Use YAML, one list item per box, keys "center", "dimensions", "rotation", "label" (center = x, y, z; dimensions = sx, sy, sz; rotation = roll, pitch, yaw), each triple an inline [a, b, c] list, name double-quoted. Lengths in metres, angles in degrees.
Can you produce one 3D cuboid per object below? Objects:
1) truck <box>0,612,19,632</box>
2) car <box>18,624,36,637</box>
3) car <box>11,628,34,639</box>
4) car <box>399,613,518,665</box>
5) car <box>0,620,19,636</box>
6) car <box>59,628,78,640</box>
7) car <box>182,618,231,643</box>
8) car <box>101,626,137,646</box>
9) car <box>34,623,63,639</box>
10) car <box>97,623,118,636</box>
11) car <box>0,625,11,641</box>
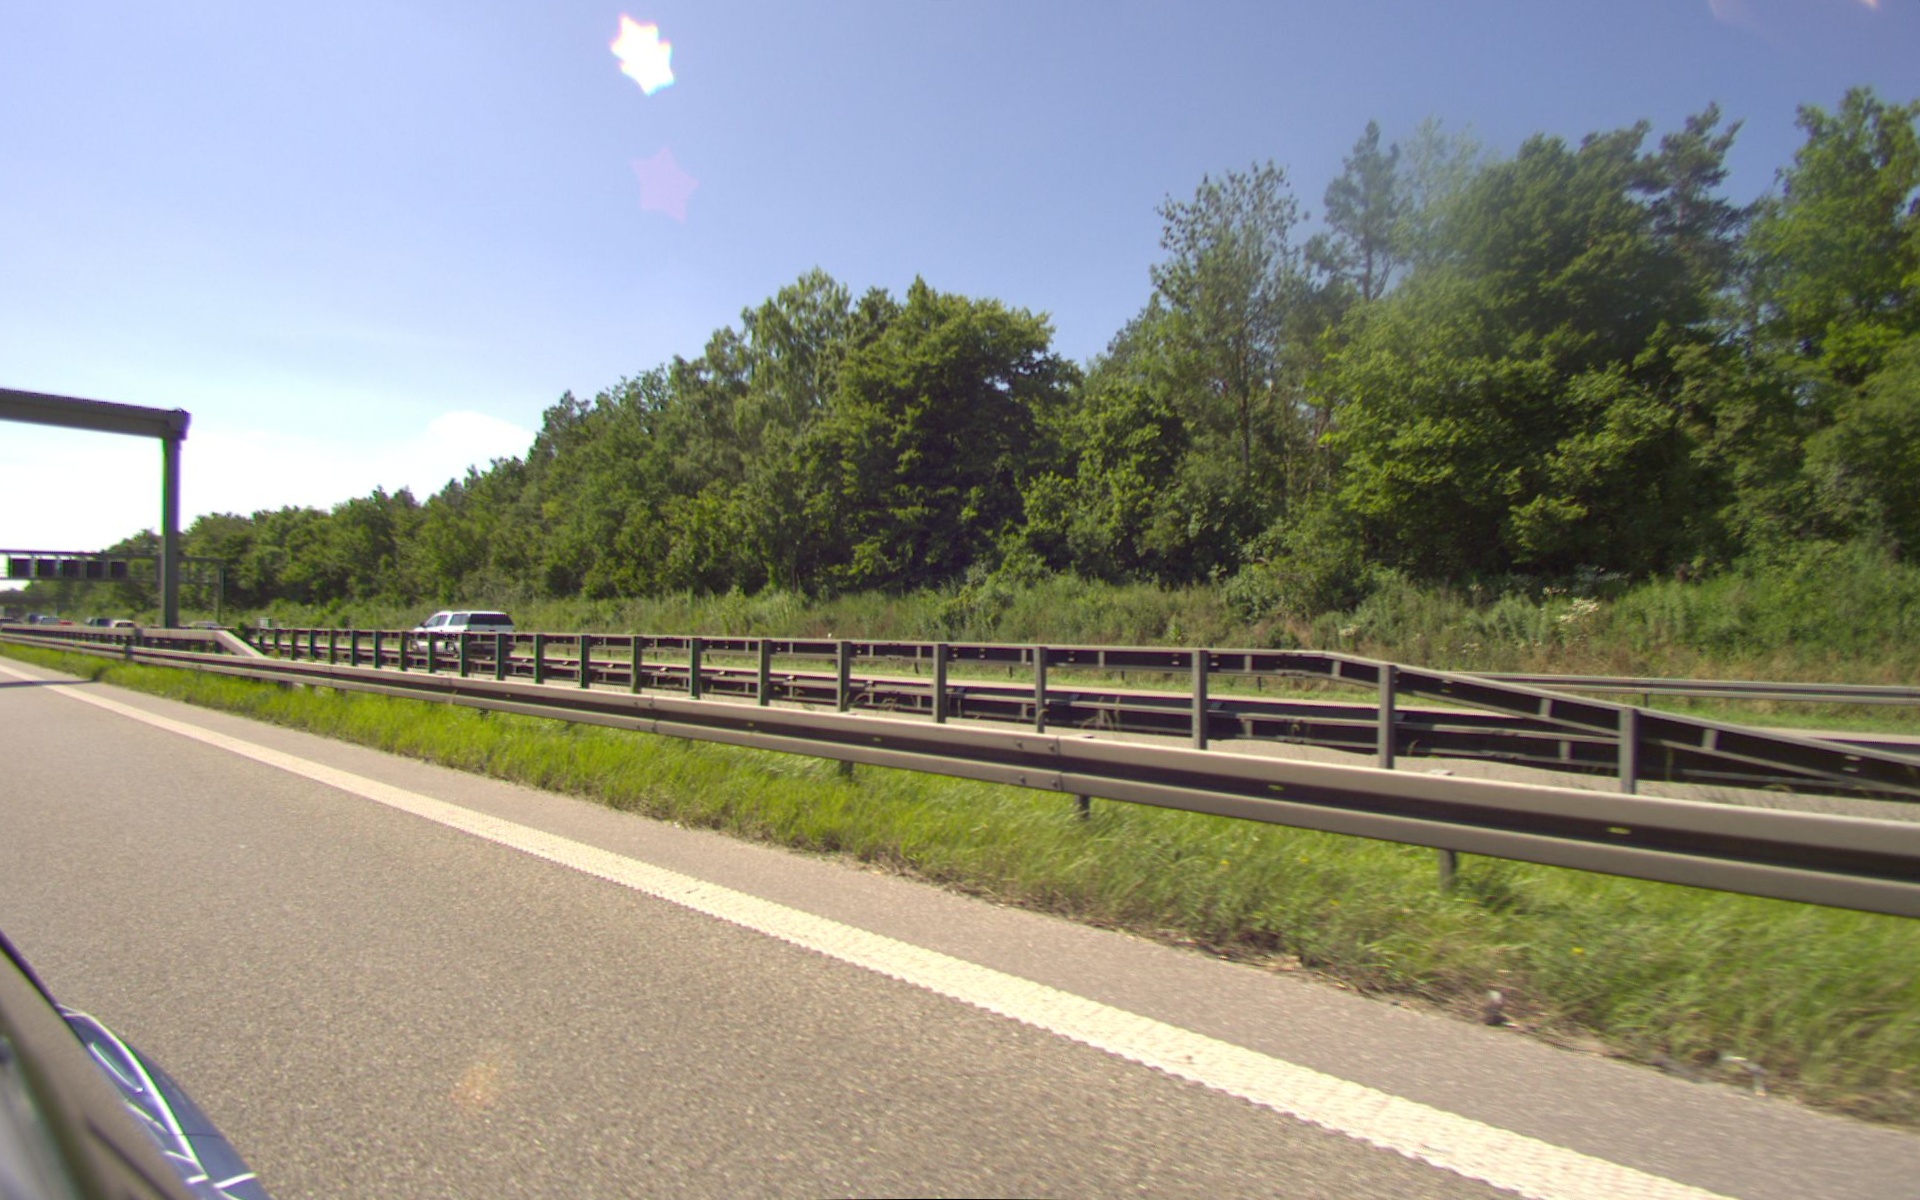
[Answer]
- center: [-185.782, 4.327, 196.303]
  dimensions: [9.645, 3.899, 3.559]
  rotation: [-1, -2, 41]
  label: "truck"
- center: [-145.701, 4.747, 158.020]
  dimensions: [3.678, 1.867, 1.638]
  rotation: [-1, -2, 41]
  label: "car"
- center: [-127.496, 4.497, 137.650]
  dimensions: [3.843, 1.424, 1.753]
  rotation: [-1, -4, 41]
  label: "car"
- center: [-17.451, 1.347, 35.062]
  dimensions: [5.539, 1.646, 1.758]
  rotation: [-1, -4, 42]
  label: "car"
- center: [-104.762, 3.107, 111.155]
  dimensions: [3.240, 1.724, 1.726]
  rotation: [-1, -2, 41]
  label: "car"
- center: [-117.616, 4.454, 133.486]
  dimensions: [3.398, 1.482, 1.485]
  rotation: [-1, -2, 41]
  label: "car"
- center: [-45.864, 1.882, 61.567]
  dimensions: [3.540, 1.453, 1.578]
  rotation: [-1, -4, 41]
  label: "car"
- center: [-65.799, 2.825, 79.181]
  dimensions: [3.540, 1.453, 1.578]
  rotation: [-1, -4, 41]
  label: "car"
- center: [-102.081, 3.465, 113.294]
  dimensions: [3.795, 1.724, 1.924]
  rotation: [-1, -2, 41]
  label: "car"
- center: [-96.609, 3.331, 114.653]
  dimensions: [2.724, 1.372, 1.423]
  rotation: [-1, -2, 41]
  label: "car"
- center: [-100.628, 3.461, 105.730]
  dimensions: [3.843, 1.646, 1.753]
  rotation: [-1, -2, 41]
  label: "car"
